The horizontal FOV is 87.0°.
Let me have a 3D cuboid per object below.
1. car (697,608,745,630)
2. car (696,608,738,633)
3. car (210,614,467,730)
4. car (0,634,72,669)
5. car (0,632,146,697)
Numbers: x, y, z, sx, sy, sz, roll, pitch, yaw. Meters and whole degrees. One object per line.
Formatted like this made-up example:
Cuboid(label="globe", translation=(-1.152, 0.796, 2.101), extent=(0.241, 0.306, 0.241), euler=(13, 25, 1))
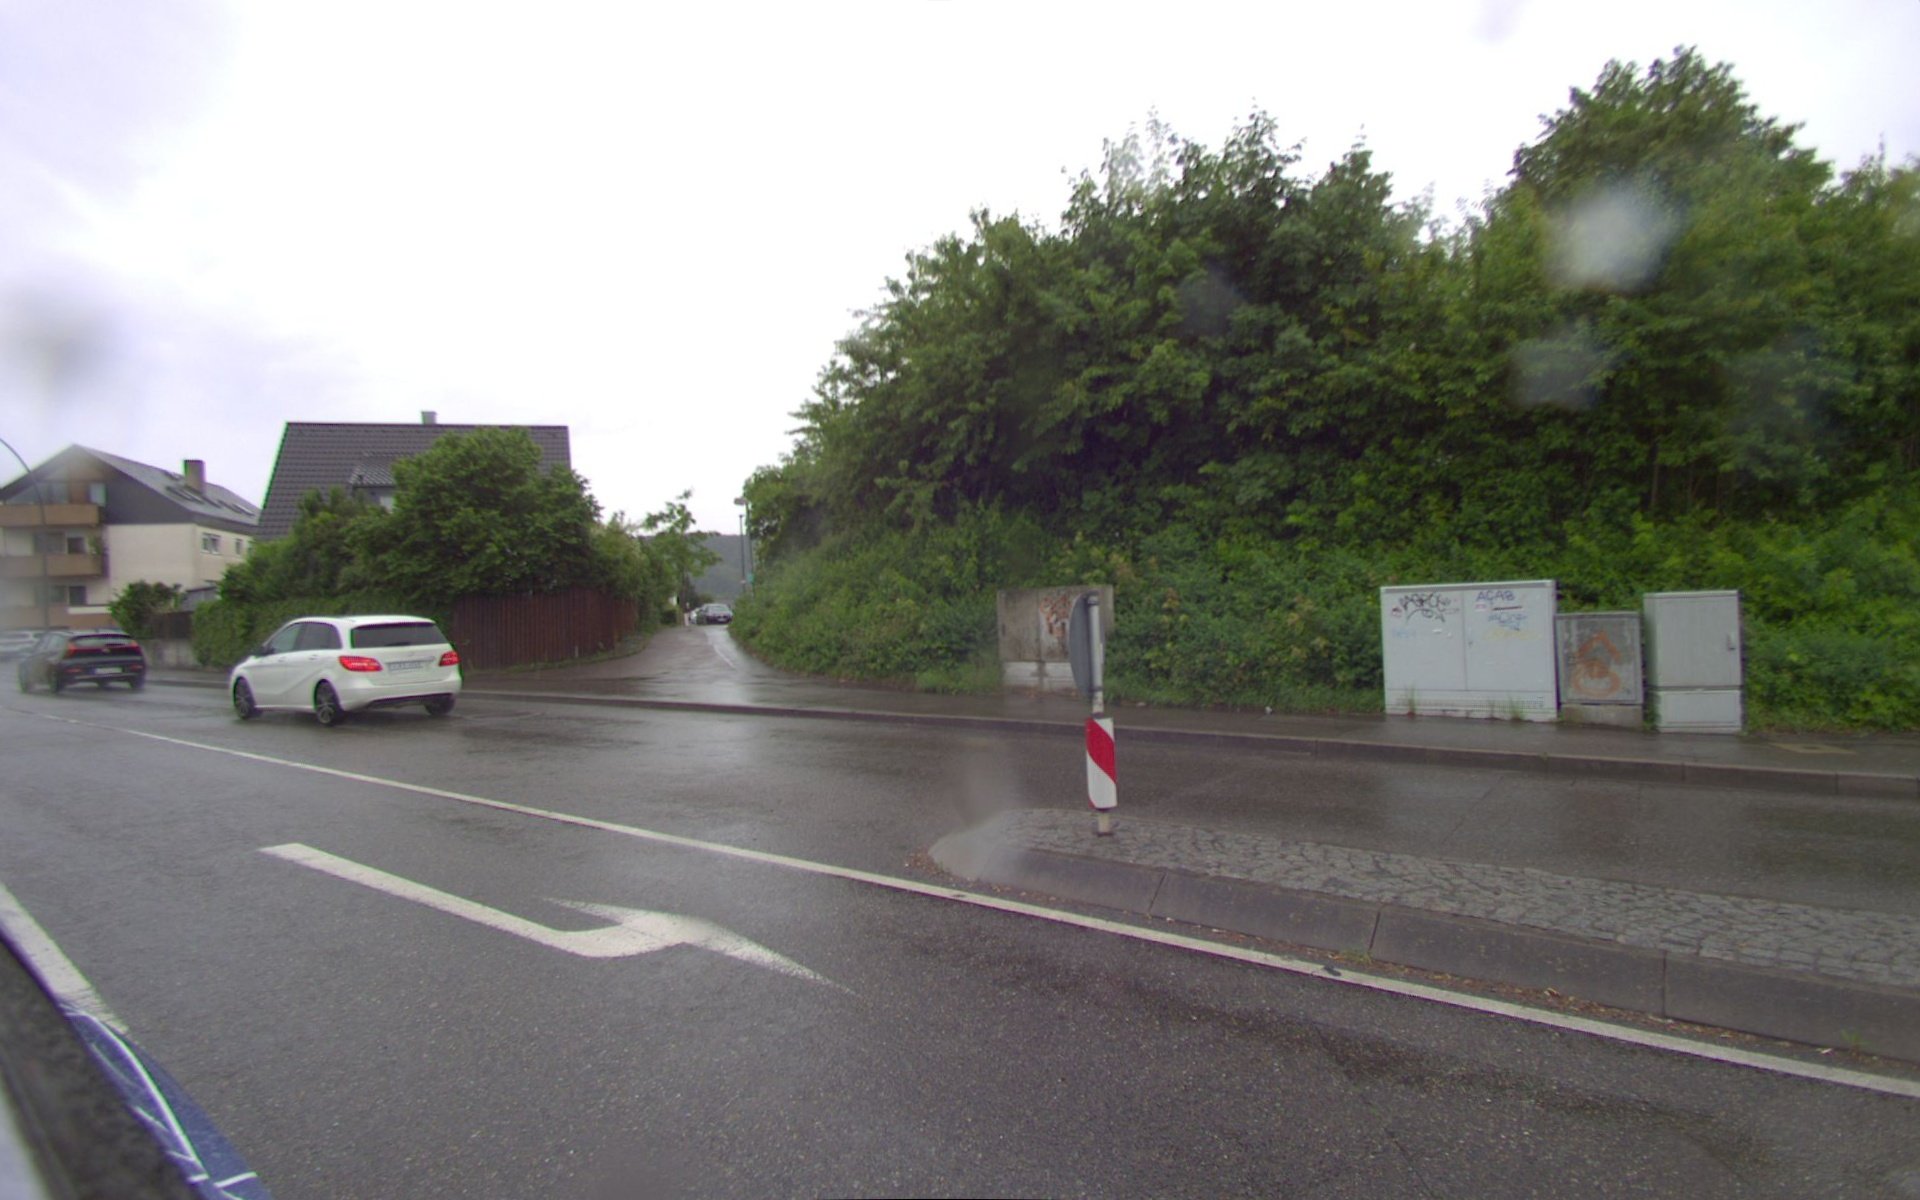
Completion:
Cuboid(label="car", translation=(-17.333, 1.358, 73.339), extent=(1.967, 1.497, 4.009), euler=(-1, 0, -37))
Cuboid(label="car", translation=(-15.878, 1.348, 65.980), extent=(1.867, 1.494, 4.013), euler=(-1, -1, -26))
Cuboid(label="car", translation=(-9.564, 1.024, 15.481), extent=(4.309, 1.516, 1.651), euler=(-2, 0, 33))
Cuboid(label="car", translation=(-46.694, 2.555, 50.754), extent=(1.638, 1.558, 4.011), euler=(-1, 0, -15))
Cuboid(label="car", translation=(-21.895, 1.528, 24.949), extent=(4.095, 1.449, 1.651), euler=(-1, -2, 33))
